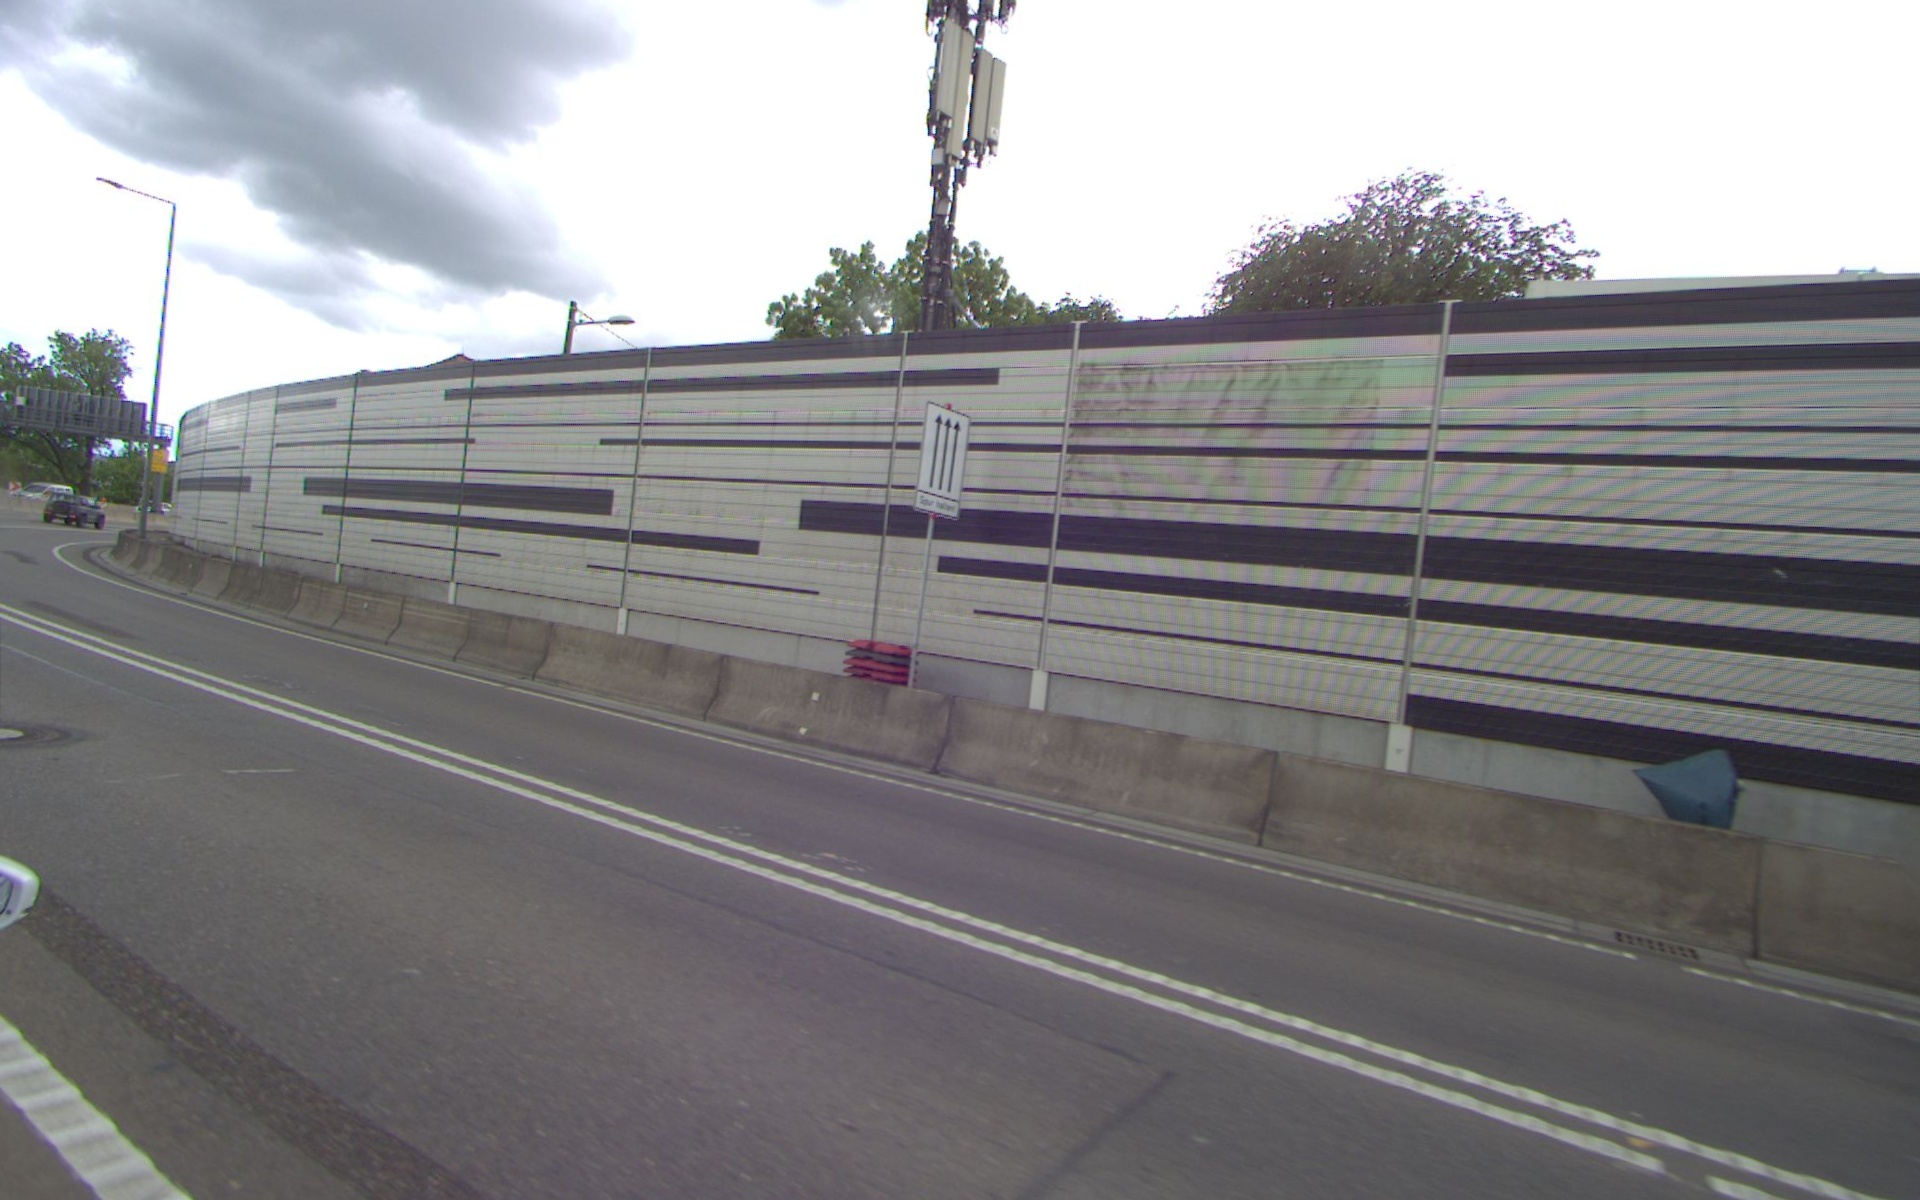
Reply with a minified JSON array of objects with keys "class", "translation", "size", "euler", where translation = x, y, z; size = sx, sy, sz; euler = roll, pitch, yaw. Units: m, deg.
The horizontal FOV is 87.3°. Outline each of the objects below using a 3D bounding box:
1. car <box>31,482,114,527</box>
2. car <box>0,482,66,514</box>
[{"class":"car","translation":[-48.246,-5.136,54.791],"size":[1.973,1.882,3.982],"euler":[7,-1,-21]},{"class":"car","translation":[-66.851,-7.315,72.284],"size":[1.969,1.705,4.249],"euler":[8,-1,-13]}]
